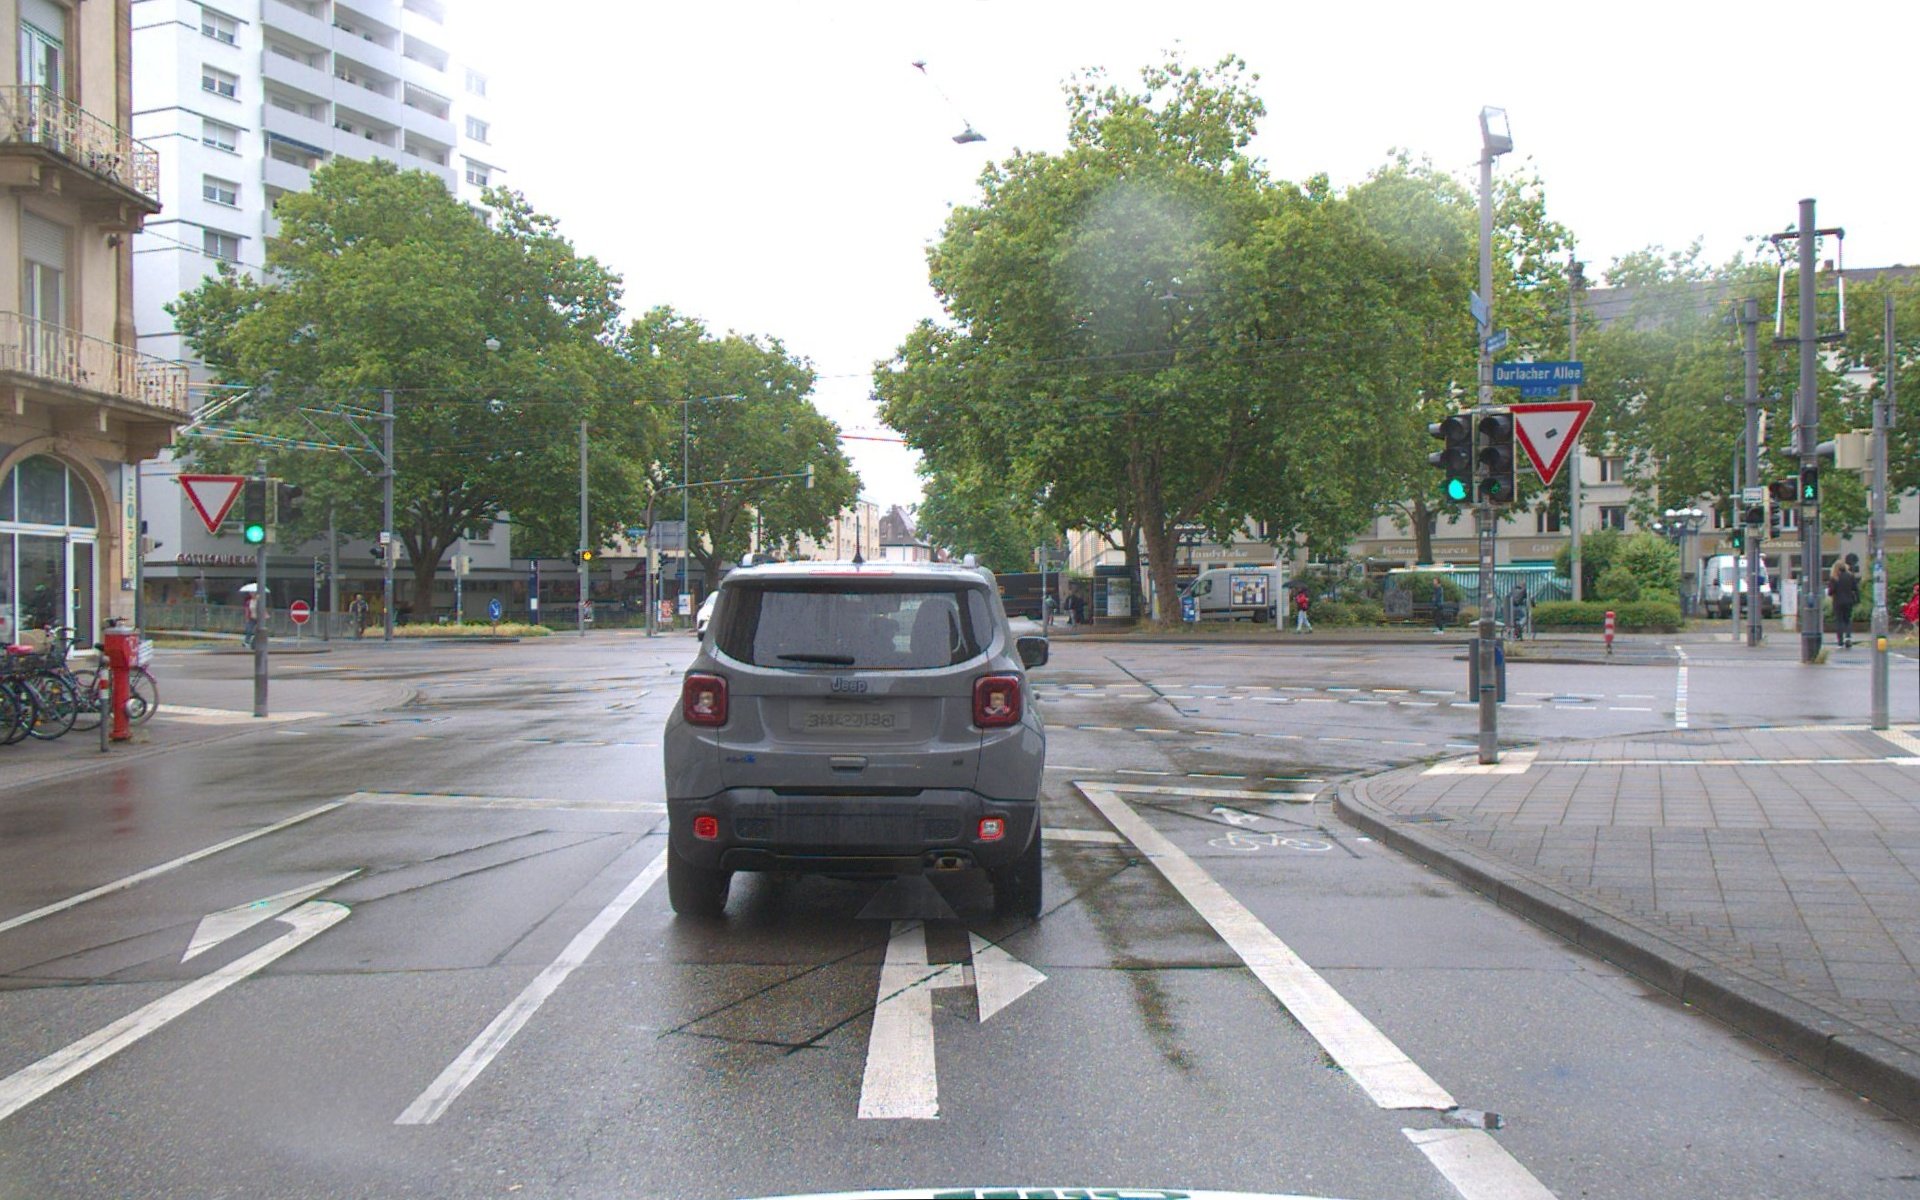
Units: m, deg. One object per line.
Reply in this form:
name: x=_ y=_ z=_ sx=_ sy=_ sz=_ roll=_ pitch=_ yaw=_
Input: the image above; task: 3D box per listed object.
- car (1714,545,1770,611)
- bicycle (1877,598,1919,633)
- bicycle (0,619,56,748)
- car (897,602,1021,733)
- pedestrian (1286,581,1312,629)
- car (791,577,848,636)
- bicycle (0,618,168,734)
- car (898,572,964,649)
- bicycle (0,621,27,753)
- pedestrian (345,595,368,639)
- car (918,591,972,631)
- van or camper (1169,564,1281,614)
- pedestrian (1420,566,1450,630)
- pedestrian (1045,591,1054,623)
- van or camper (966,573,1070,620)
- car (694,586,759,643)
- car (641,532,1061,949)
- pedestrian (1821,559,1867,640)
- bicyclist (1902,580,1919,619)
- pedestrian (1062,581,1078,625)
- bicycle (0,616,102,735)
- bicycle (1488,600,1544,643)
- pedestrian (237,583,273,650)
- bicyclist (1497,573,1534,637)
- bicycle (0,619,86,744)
car: x=32.292 y=-0.894 z=68.386 sx=1.868 sy=2.600 sz=4.786 roll=-1 pitch=0 yaw=23
bicycle: x=25.699 y=0.406 z=44.301 sx=1.927 sy=0.927 sz=0.559 roll=-1 pitch=0 yaw=23
bicycle: x=-10.282 y=0.859 z=16.904 sx=1.774 sy=1.288 sz=0.498 roll=-1 pitch=0 yaw=-2
car: x=-0.023 y=0.742 z=19.792 sx=1.335 sy=1.400 sz=3.312 roll=-1 pitch=0 yaw=-1
pedestrian: x=11.243 y=0.168 z=54.871 sx=0.660 sy=1.581 sz=0.761 roll=-1 pitch=-1 yaw=28
car: x=-4.401 y=0.177 z=52.105 sx=1.687 sy=1.769 sz=3.726 roll=-1 pitch=0 yaw=-4
bicycle: x=-10.343 y=0.883 z=19.462 sx=1.728 sy=1.288 sz=0.608 roll=-1 pitch=0 yaw=-2
car: x=-0.808 y=0.265 z=46.360 sx=1.734 sy=2.049 sz=3.999 roll=-1 pitch=0 yaw=-1
bicycle: x=-10.260 y=0.870 z=16.357 sx=1.728 sy=1.288 sz=0.522 roll=-1 pitch=0 yaw=-2
pedestrian: x=-21.643 y=0.616 z=59.358 sx=0.433 sy=1.556 sz=0.643 roll=-1 pitch=0 yaw=25
car: x=-0.527 y=0.347 z=55.088 sx=1.561 sy=1.274 sz=3.572 roll=-1 pitch=0 yaw=-4
van or camper: x=12.660 y=-0.533 z=79.236 sx=5.149 sy=2.356 sz=2.091 roll=0 pitch=1 yaw=3
pedestrian: x=15.330 y=-0.060 z=53.359 sx=0.789 sy=2.049 sz=0.589 roll=-1 pitch=0 yaw=26
pedestrian: x=4.936 y=0.401 z=90.962 sx=0.448 sy=1.733 sz=0.424 roll=-1 pitch=0 yaw=0
van or camper: x=3.808 y=-0.225 z=109.193 sx=6.398 sy=2.963 sz=2.492 roll=-1 pitch=0 yaw=26
car: x=-7.369 y=0.428 z=52.481 sx=1.778 sy=1.700 sz=3.917 roll=-1 pitch=0 yaw=-5
car: x=-0.502 y=0.581 z=8.965 sx=1.739 sy=1.716 sz=3.847 roll=-2 pitch=0 yaw=-1
pedestrian: x=18.669 y=-0.011 z=34.931 sx=0.767 sy=1.674 sz=0.655 roll=-1 pitch=0 yaw=23
bicyclist: x=25.658 y=-0.015 z=44.315 sx=0.665 sy=1.044 sz=0.559 roll=-1 pitch=0 yaw=23
pedestrian: x=5.124 y=0.132 z=77.209 sx=0.637 sy=2.049 sz=0.483 roll=-1 pitch=0 yaw=12
bicycle: x=-10.693 y=0.849 z=18.613 sx=1.728 sy=1.288 sz=0.608 roll=-1 pitch=0 yaw=-2
bicycle: x=14.701 y=0.553 z=43.718 sx=0.680 sy=1.039 sz=2.649 roll=-2 pitch=0 yaw=34
pedestrian: x=-19.873 y=0.453 z=46.630 sx=0.605 sy=1.858 sz=0.695 roll=-1 pitch=0 yaw=13
bicyclist: x=14.699 y=0.122 z=43.735 sx=0.675 sy=1.645 sz=0.881 roll=-2 pitch=0 yaw=35
bicycle: x=-10.310 y=0.864 z=17.531 sx=1.774 sy=1.288 sz=0.498 roll=-1 pitch=0 yaw=-2
